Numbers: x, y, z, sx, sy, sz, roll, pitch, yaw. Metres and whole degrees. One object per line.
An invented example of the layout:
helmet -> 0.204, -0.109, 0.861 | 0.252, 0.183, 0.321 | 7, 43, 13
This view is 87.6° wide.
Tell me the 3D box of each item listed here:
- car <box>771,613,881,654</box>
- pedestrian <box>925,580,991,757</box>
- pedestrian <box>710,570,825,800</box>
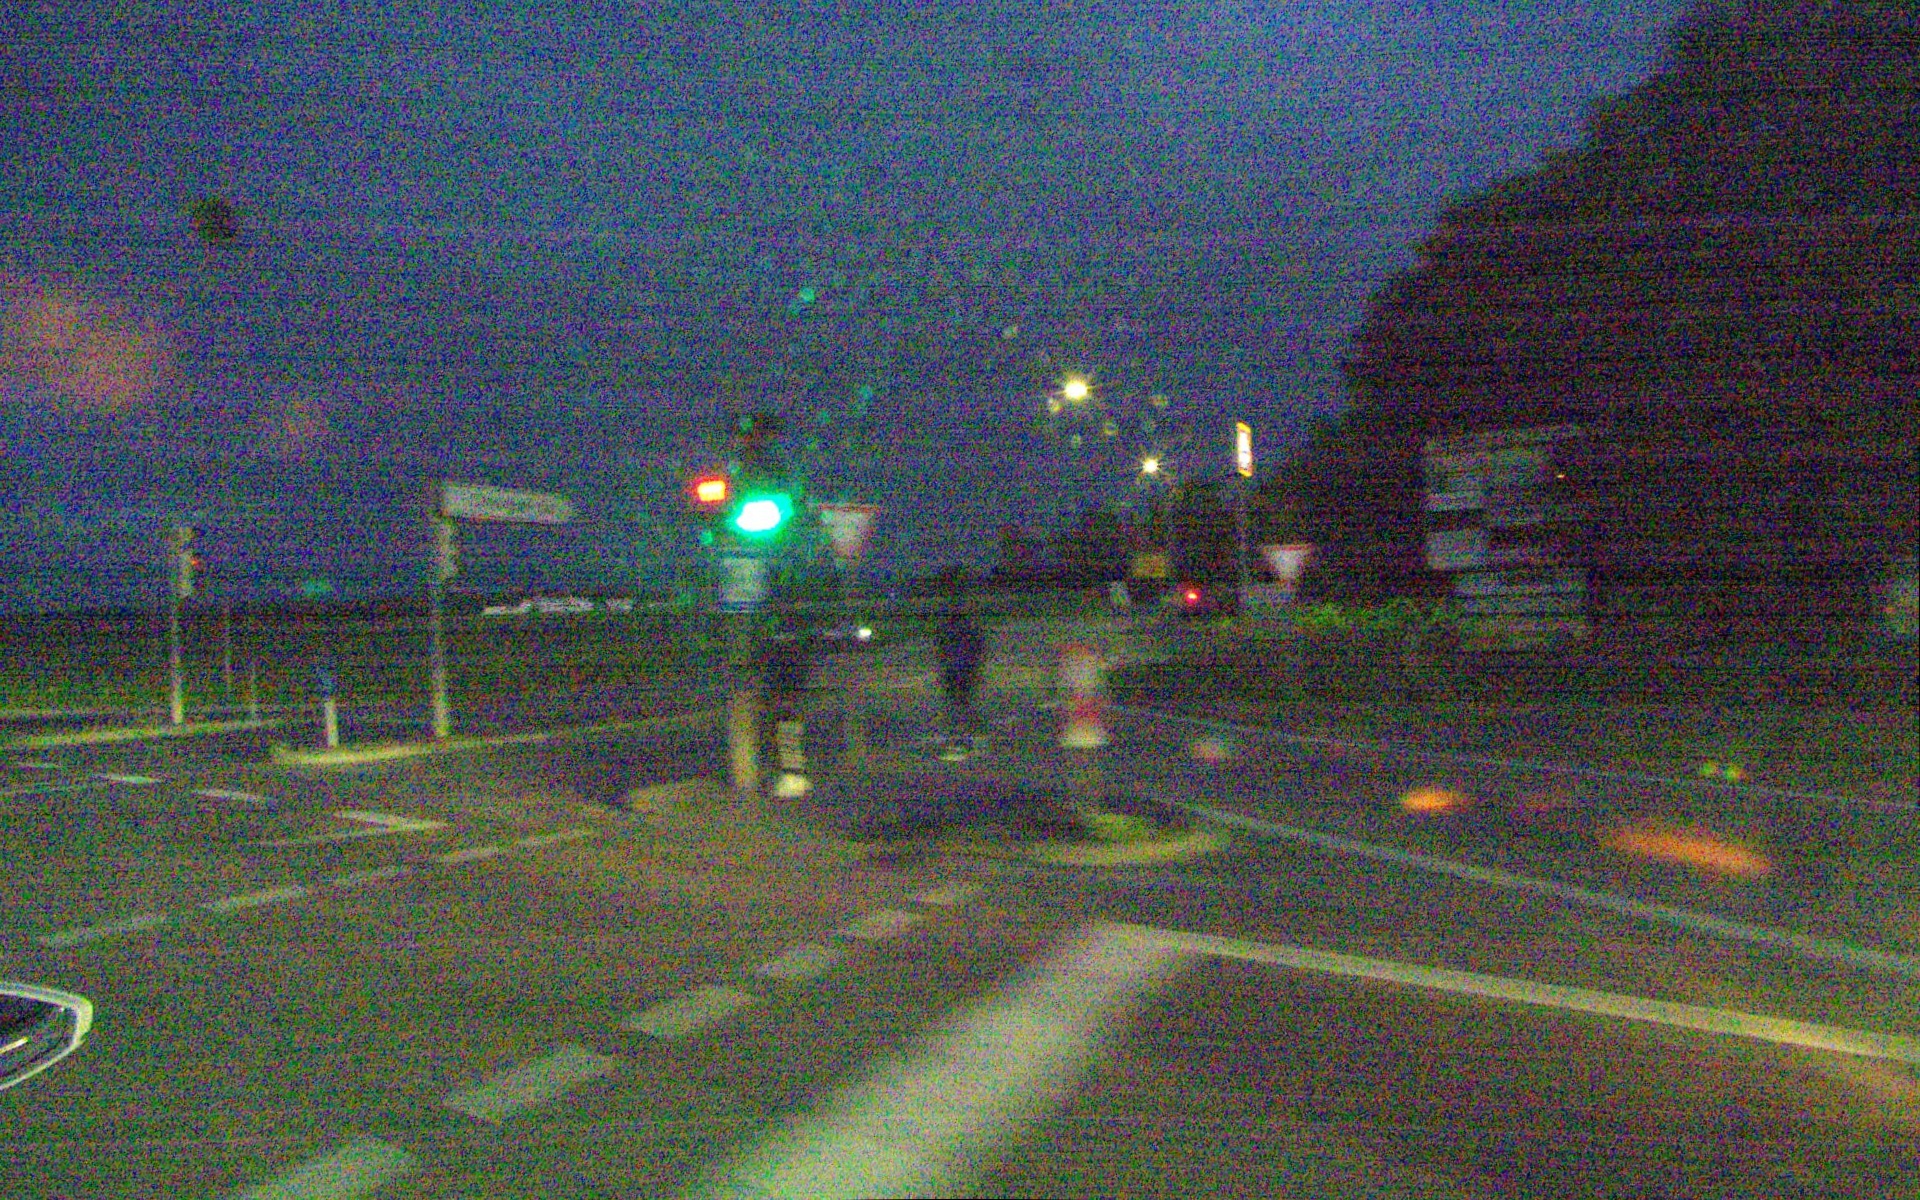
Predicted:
car -> -5.929, 1.470, 44.542 | 4.393, 1.686, 1.999 | -2, 0, 10
pedestrian -> -0.036, 0.812, 12.006 | 0.700, 2.039, 0.781 | 0, -2, -6
pedestrian -> -1.804, 0.770, 9.410 | 0.704, 2.039, 0.776 | -2, -1, 33
